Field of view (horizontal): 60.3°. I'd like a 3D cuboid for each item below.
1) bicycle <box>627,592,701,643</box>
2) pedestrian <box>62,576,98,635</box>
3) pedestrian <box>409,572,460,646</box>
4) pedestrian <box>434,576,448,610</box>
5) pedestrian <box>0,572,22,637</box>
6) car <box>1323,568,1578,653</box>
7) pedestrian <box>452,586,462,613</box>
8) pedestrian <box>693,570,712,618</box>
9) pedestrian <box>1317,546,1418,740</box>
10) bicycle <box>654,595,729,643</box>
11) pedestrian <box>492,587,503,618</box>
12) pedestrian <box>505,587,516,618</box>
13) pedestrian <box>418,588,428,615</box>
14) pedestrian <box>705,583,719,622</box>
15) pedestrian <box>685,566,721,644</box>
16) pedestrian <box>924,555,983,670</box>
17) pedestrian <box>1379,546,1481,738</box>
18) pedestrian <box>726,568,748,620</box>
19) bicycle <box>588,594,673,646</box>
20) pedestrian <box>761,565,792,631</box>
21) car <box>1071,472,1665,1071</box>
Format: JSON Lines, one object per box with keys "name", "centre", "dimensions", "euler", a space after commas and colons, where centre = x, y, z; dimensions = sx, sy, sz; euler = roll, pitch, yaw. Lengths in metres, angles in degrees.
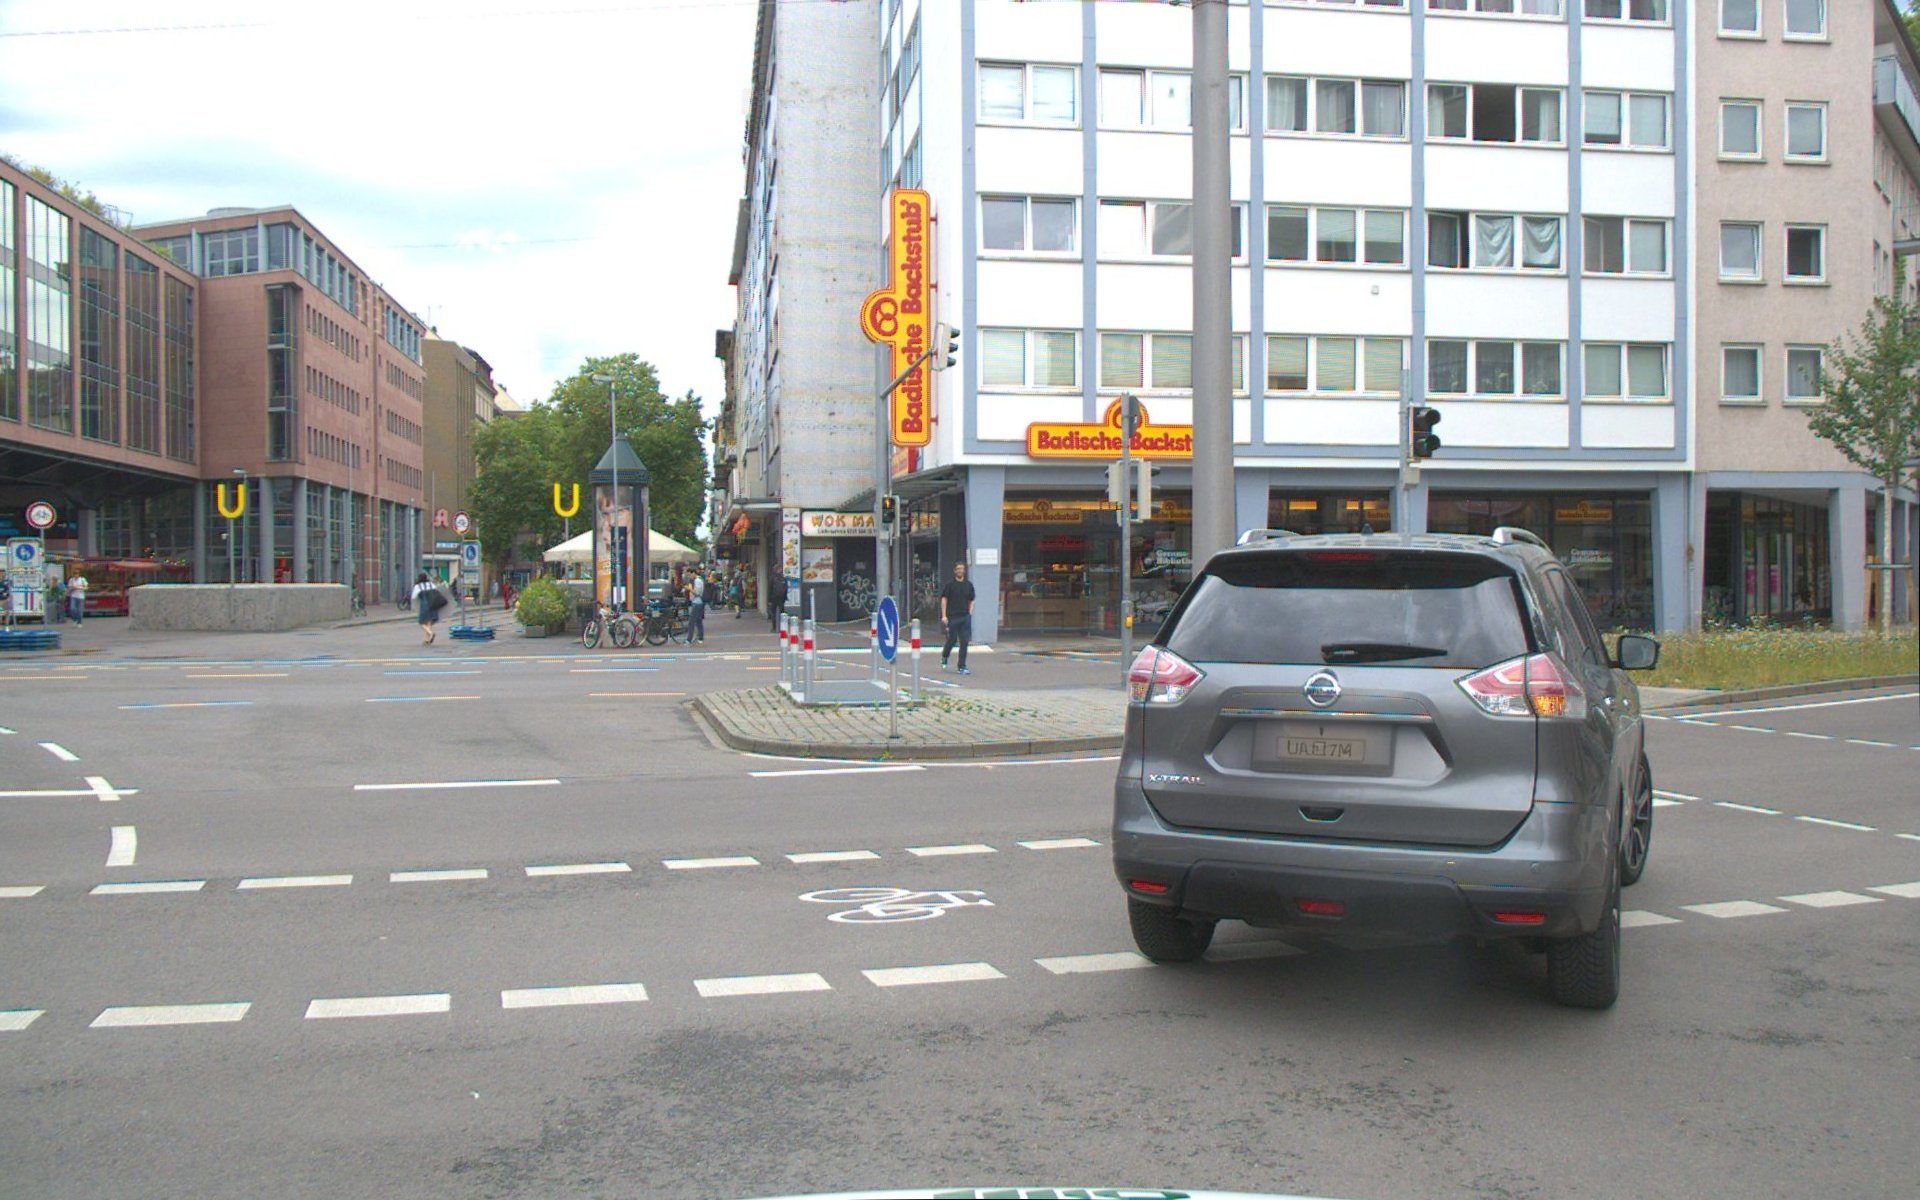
{"name": "bicycle", "centre": [-6.970, 0.418, 38.933], "dimensions": [1.668, 1.192, 0.435], "euler": [1, 0, -16]}
{"name": "pedestrian", "centre": [-28.199, 0.168, 53.020], "dimensions": [0.685, 1.874, 0.735], "euler": [1, 0, 10]}
{"name": "pedestrian", "centre": [-12.623, 0.208, 39.716], "dimensions": [0.906, 1.734, 0.735], "euler": [1, 0, 10]}
{"name": "pedestrian", "centre": [-24.258, -0.319, 77.339], "dimensions": [0.591, 1.563, 0.653], "euler": [1, 0, -16]}
{"name": "pedestrian", "centre": [-28.217, 0.126, 48.750], "dimensions": [0.685, 1.874, 0.735], "euler": [1, 0, 10]}
{"name": "car", "centre": [9.513, 0.177, 32.168], "dimensions": [4.471, 1.507, 1.743], "euler": [-1, 0, -12]}
{"name": "pedestrian", "centre": [-32.288, -0.021, 106.153], "dimensions": [0.591, 1.744, 0.653], "euler": [1, 0, -16]}
{"name": "pedestrian", "centre": [-9.456, -0.212, 60.745], "dimensions": [0.631, 1.734, 0.558], "euler": [1, 0, -8]}
{"name": "pedestrian", "centre": [3.858, 0.393, 15.705], "dimensions": [0.611, 1.792, 0.776], "euler": [1, 0, -17]}
{"name": "bicycle", "centre": [-6.234, 0.431, 38.411], "dimensions": [1.662, 1.084, 0.437], "euler": [1, 0, -3]}
{"name": "pedestrian", "centre": [-26.437, 0.153, 94.567], "dimensions": [0.591, 1.744, 0.653], "euler": [1, 0, -16]}
{"name": "pedestrian", "centre": [-25.751, 0.159, 94.796], "dimensions": [0.591, 1.744, 0.653], "euler": [1, 0, -16]}
{"name": "pedestrian", "centre": [-34.986, 0.109, 107.780], "dimensions": [0.591, 1.744, 0.653], "euler": [1, 0, -16]}
{"name": "pedestrian", "centre": [-11.055, 0.106, 73.742], "dimensions": [0.600, 1.734, 0.618], "euler": [1, 0, -8]}
{"name": "pedestrian", "centre": [-5.931, 0.121, 38.097], "dimensions": [0.720, 1.776, 0.660], "euler": [1, 0, -17]}
{"name": "pedestrian", "centre": [-0.113, 0.203, 27.359], "dimensions": [0.701, 1.864, 1.012], "euler": [1, 0, -17]}
{"name": "pedestrian", "centre": [4.505, 0.393, 15.886], "dimensions": [0.611, 1.792, 0.776], "euler": [1, 0, -17]}
{"name": "pedestrian", "centre": [-8.038, -0.211, 59.592], "dimensions": [0.724, 1.853, 0.660], "euler": [-1, 0, -12]}
{"name": "bicycle", "centre": [-7.595, 0.460, 38.122], "dimensions": [1.842, 1.192, 0.527], "euler": [0, 0, -24]}
{"name": "pedestrian", "centre": [-4.893, -0.054, 44.103], "dimensions": [0.695, 1.734, 0.735], "euler": [1, 0, 3]}
{"name": "car", "centre": [2.145, 0.498, 7.449], "dimensions": [1.826, 1.806, 4.565], "euler": [1, 0, 24]}
